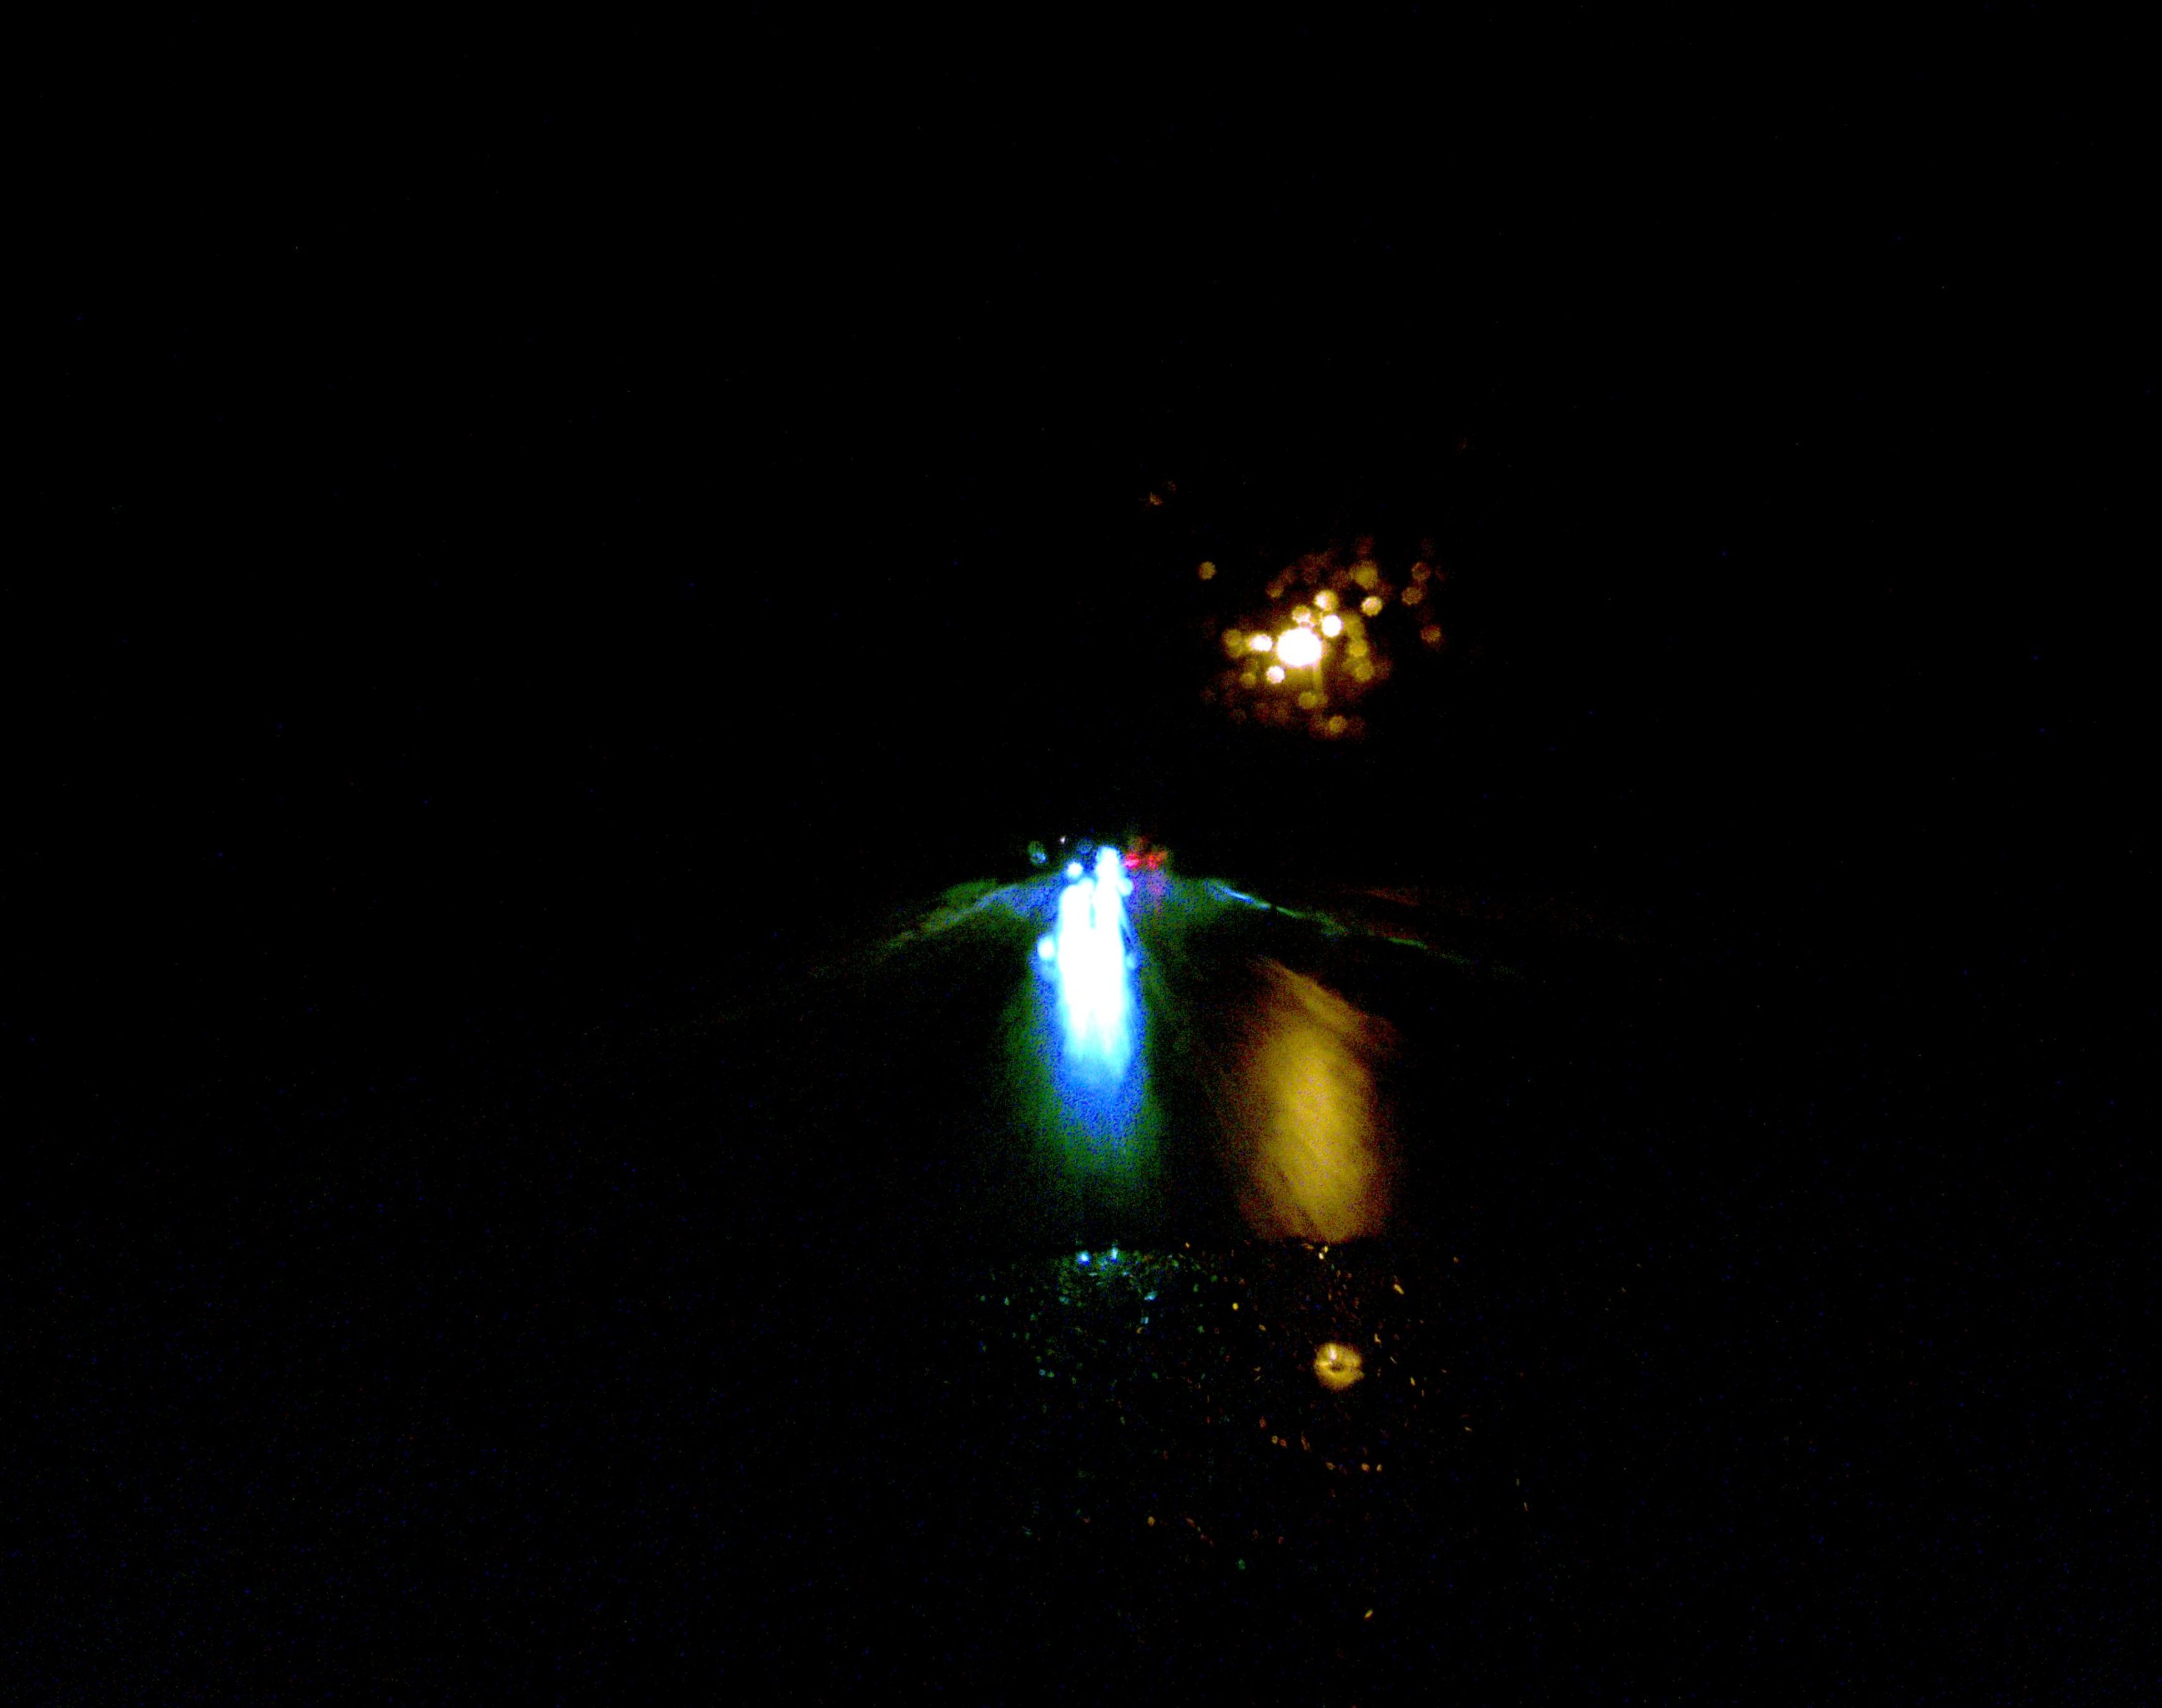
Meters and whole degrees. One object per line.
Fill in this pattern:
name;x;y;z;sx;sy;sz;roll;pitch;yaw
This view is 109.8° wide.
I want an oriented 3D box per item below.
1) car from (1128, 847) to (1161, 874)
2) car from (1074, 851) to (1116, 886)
car;3.892;0.384;47.198;1.806;1.484;3.867;-2;2;1
car;0.669;0.786;39.472;1.944;1.580;4.776;-4;-2;0
